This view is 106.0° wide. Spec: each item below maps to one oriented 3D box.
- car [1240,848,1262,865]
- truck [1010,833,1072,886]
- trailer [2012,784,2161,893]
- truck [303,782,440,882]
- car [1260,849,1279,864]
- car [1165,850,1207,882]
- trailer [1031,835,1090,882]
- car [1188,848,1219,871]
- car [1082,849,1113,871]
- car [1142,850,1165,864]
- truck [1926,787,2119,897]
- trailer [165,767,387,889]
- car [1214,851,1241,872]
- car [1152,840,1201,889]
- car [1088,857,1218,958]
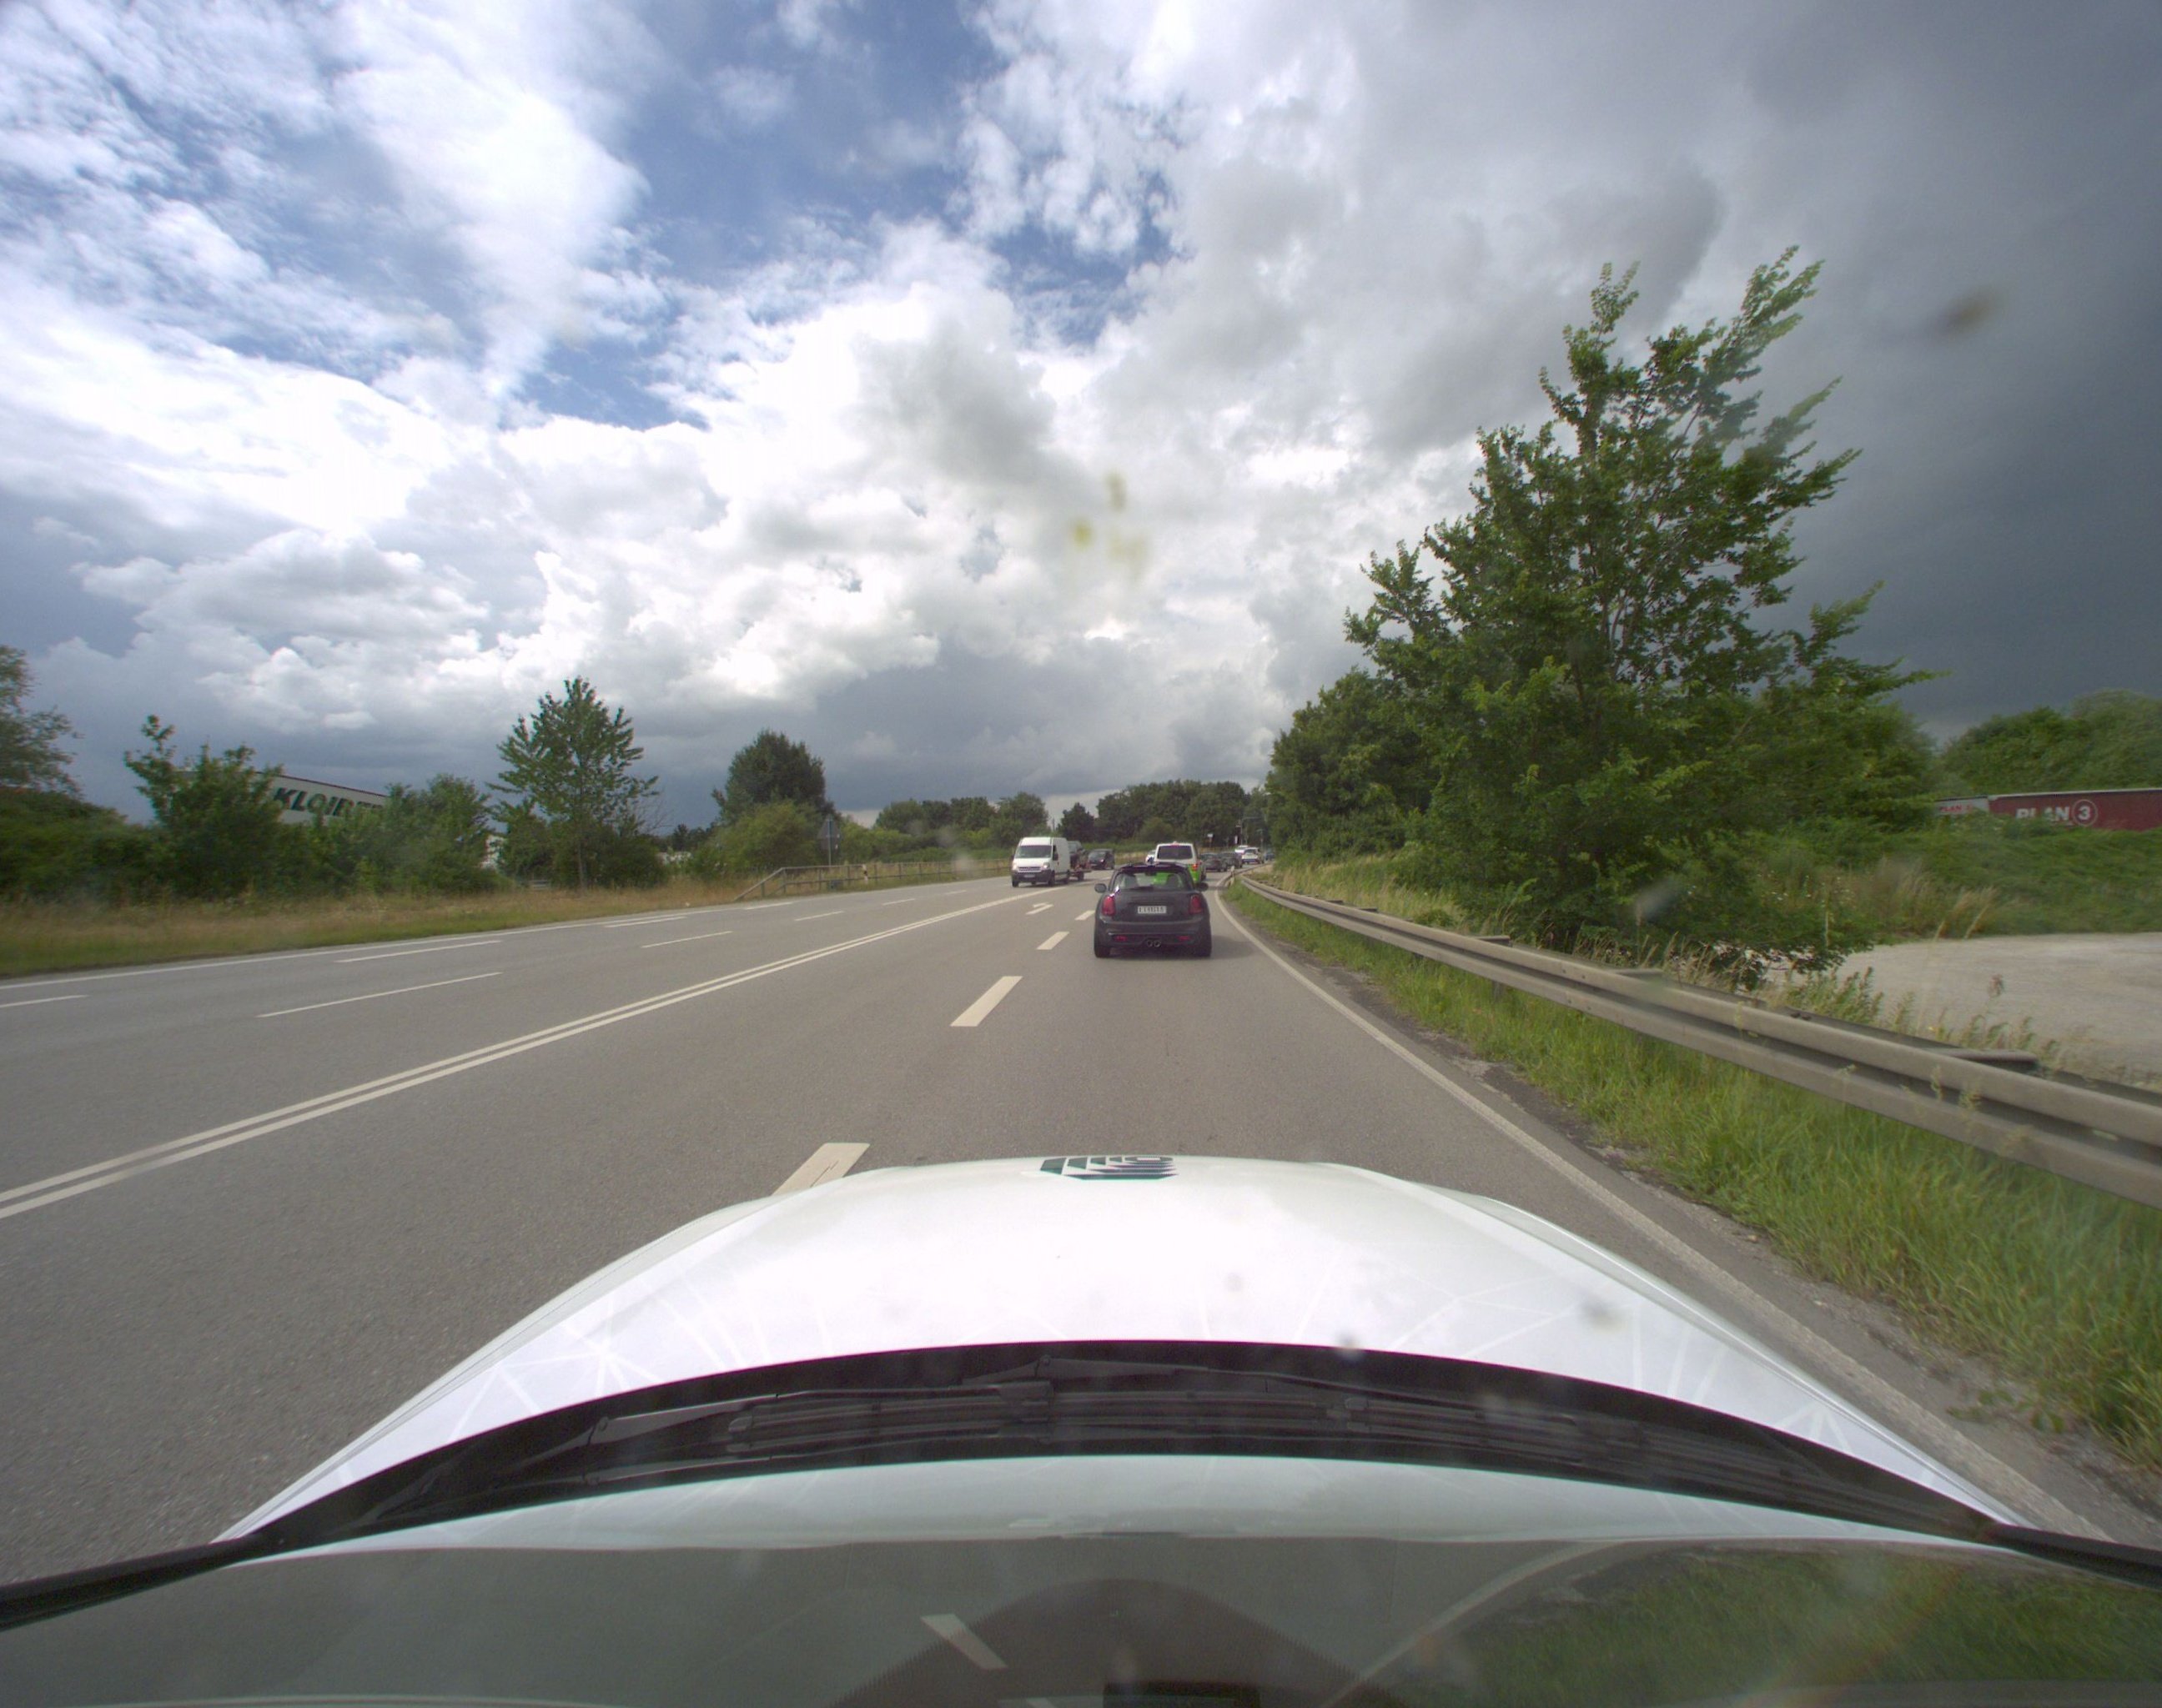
[{"bbox_3d":[17.226,0.244,82.477,1.979,1.684,4.016,0,0,15],"label":"car"},{"bbox_3d":[-1.904,0.250,40.205,2.011,2.444,5.038,0,0,9],"label":"truck"},{"bbox_3d":[50.624,-0.820,38.667,10.228,4.834,2.664,-2,0,-4],"label":"trailer"},{"bbox_3d":[-38.057,-1.104,44.004,2.796,4.996,6.167,0,0,-11],"label":"truck"},{"bbox_3d":[21.995,0.260,94.921,1.979,1.684,4.016,0,0,15],"label":"car"},{"bbox_3d":[5.789,0.639,44.476,1.980,1.684,4.013,0,-1,11],"label":"car"},{"bbox_3d":[-1.019,0.230,45.433,2.011,2.444,6.985,0,0,10],"label":"trailer"},{"bbox_3d":[9.199,0.423,61.050,1.980,1.684,4.014,0,0,13],"label":"car"},{"bbox_3d":[1.424,0.479,69.664,1.981,1.797,4.332,-1,0,10],"label":"car"},{"bbox_3d":[7.968,0.358,89.661,1.862,1.489,3.759,-1,0,16],"label":"car"},{"bbox_3d":[44.065,-0.574,38.241,6.130,4.786,2.664,-2,0,-4],"label":"truck"},{"bbox_3d":[-36.918,-1.079,37.990,2.799,4.996,8.951,0,0,-11],"label":"trailer"},{"bbox_3d":[12.623,0.642,70.168,1.979,1.684,3.993,0,0,15],"label":"car"},{"bbox_3d":[4.131,0.438,34.641,1.833,1.987,3.852,0,-1,10],"label":"car"},{"bbox_3d":[1.147,0.762,13.454,1.837,1.428,3.845,0,0,4],"label":"car"}]
